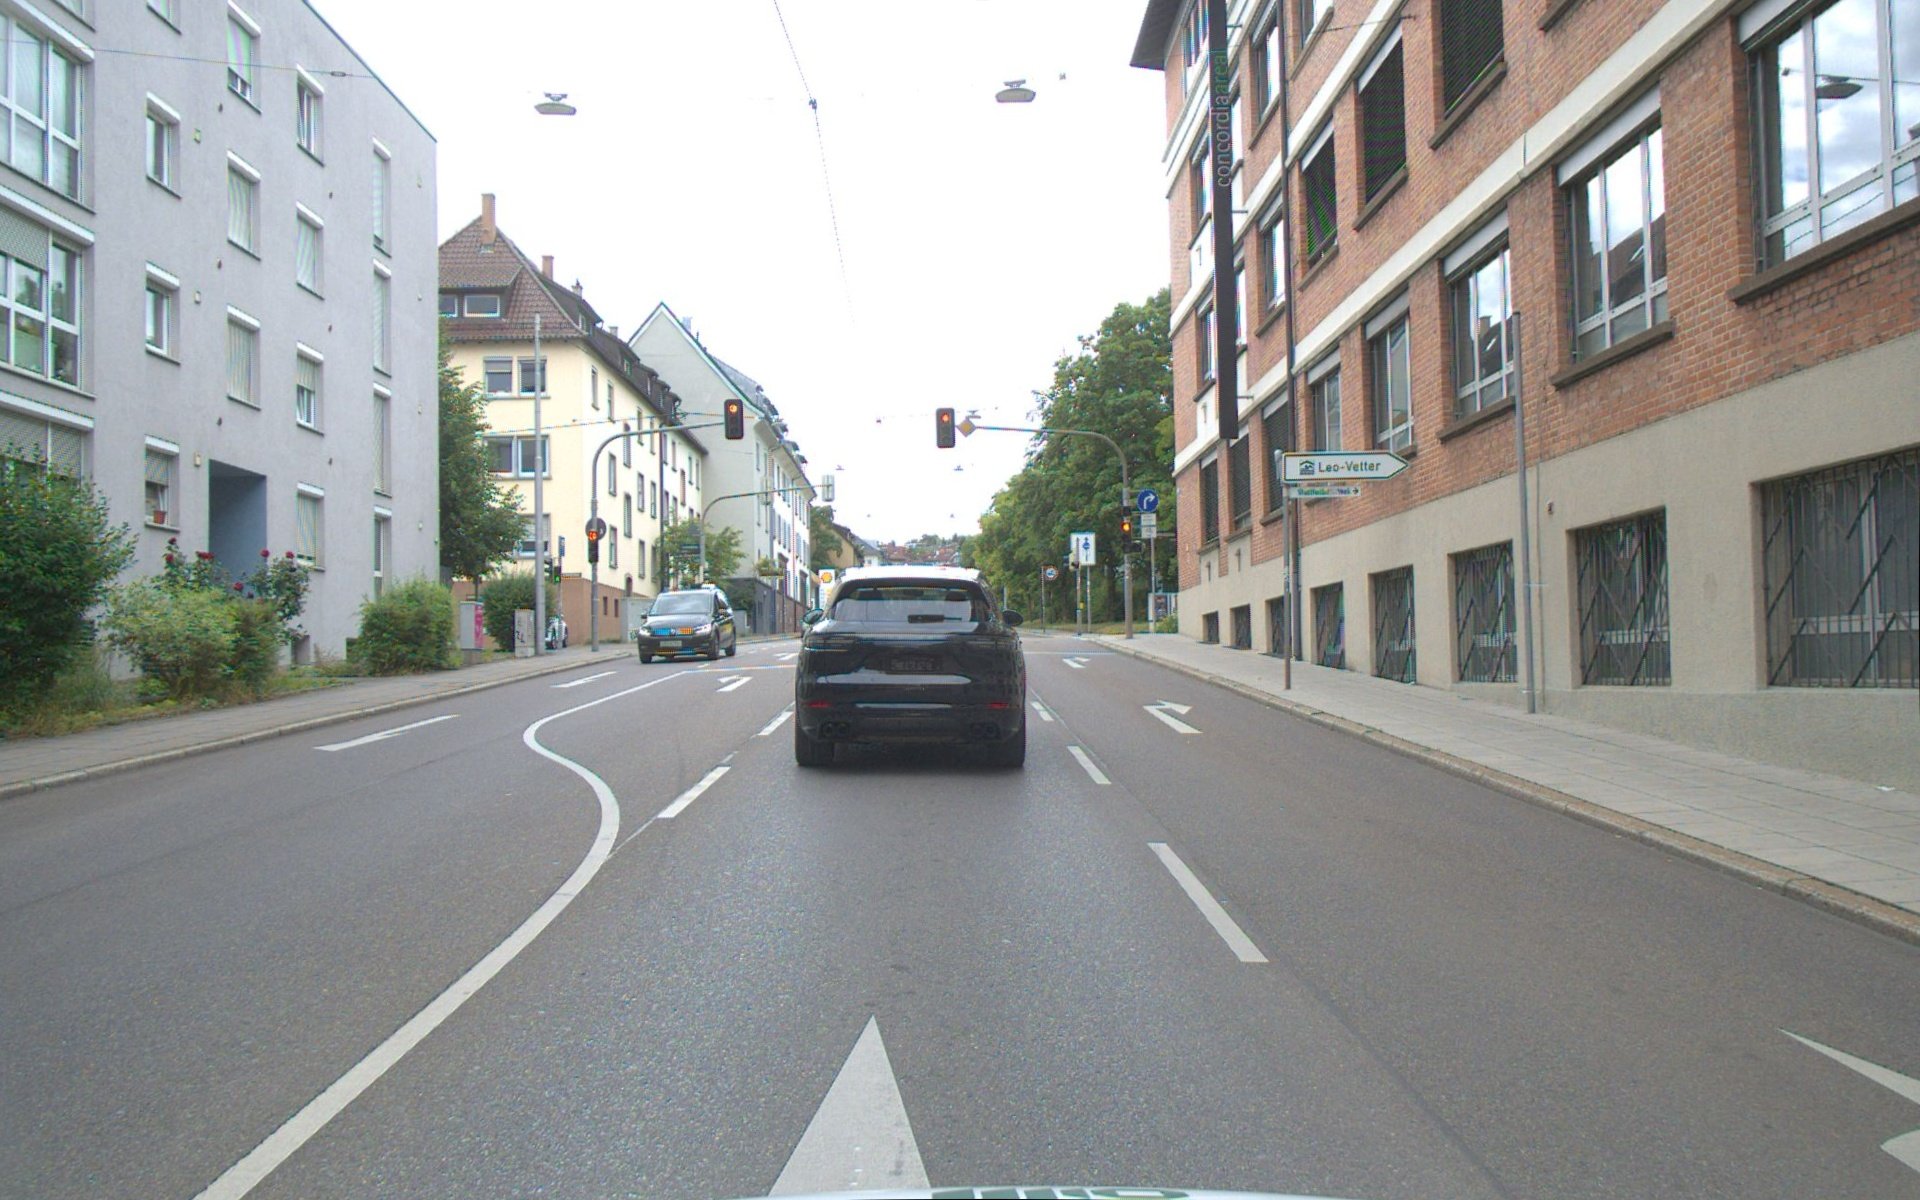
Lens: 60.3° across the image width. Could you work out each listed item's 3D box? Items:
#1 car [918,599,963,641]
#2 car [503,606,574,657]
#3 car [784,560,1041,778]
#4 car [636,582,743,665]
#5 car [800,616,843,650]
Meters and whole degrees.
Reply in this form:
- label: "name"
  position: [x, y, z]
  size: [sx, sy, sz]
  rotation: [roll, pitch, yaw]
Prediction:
- label: "car"
  position: [-0.774, 0.786, 68.258]
  size: [1.790, 1.633, 4.135]
  rotation: [0, 0, 0]
- label: "car"
  position: [-14.698, 1.070, 57.830]
  size: [1.658, 1.582, 3.763]
  rotation: [-3, 1, -4]
- label: "car"
  position: [-0.378, 0.527, 15.090]
  size: [2.006, 1.695, 4.267]
  rotation: [0, 0, 0]
- label: "car"
  position: [-6.293, 0.507, 38.893]
  size: [1.747, 1.736, 4.306]
  rotation: [-4, 0, 0]
- label: "car"
  position: [-6.511, 1.532, 77.858]
  size: [1.639, 1.424, 3.794]
  rotation: [-4, 1, 0]
